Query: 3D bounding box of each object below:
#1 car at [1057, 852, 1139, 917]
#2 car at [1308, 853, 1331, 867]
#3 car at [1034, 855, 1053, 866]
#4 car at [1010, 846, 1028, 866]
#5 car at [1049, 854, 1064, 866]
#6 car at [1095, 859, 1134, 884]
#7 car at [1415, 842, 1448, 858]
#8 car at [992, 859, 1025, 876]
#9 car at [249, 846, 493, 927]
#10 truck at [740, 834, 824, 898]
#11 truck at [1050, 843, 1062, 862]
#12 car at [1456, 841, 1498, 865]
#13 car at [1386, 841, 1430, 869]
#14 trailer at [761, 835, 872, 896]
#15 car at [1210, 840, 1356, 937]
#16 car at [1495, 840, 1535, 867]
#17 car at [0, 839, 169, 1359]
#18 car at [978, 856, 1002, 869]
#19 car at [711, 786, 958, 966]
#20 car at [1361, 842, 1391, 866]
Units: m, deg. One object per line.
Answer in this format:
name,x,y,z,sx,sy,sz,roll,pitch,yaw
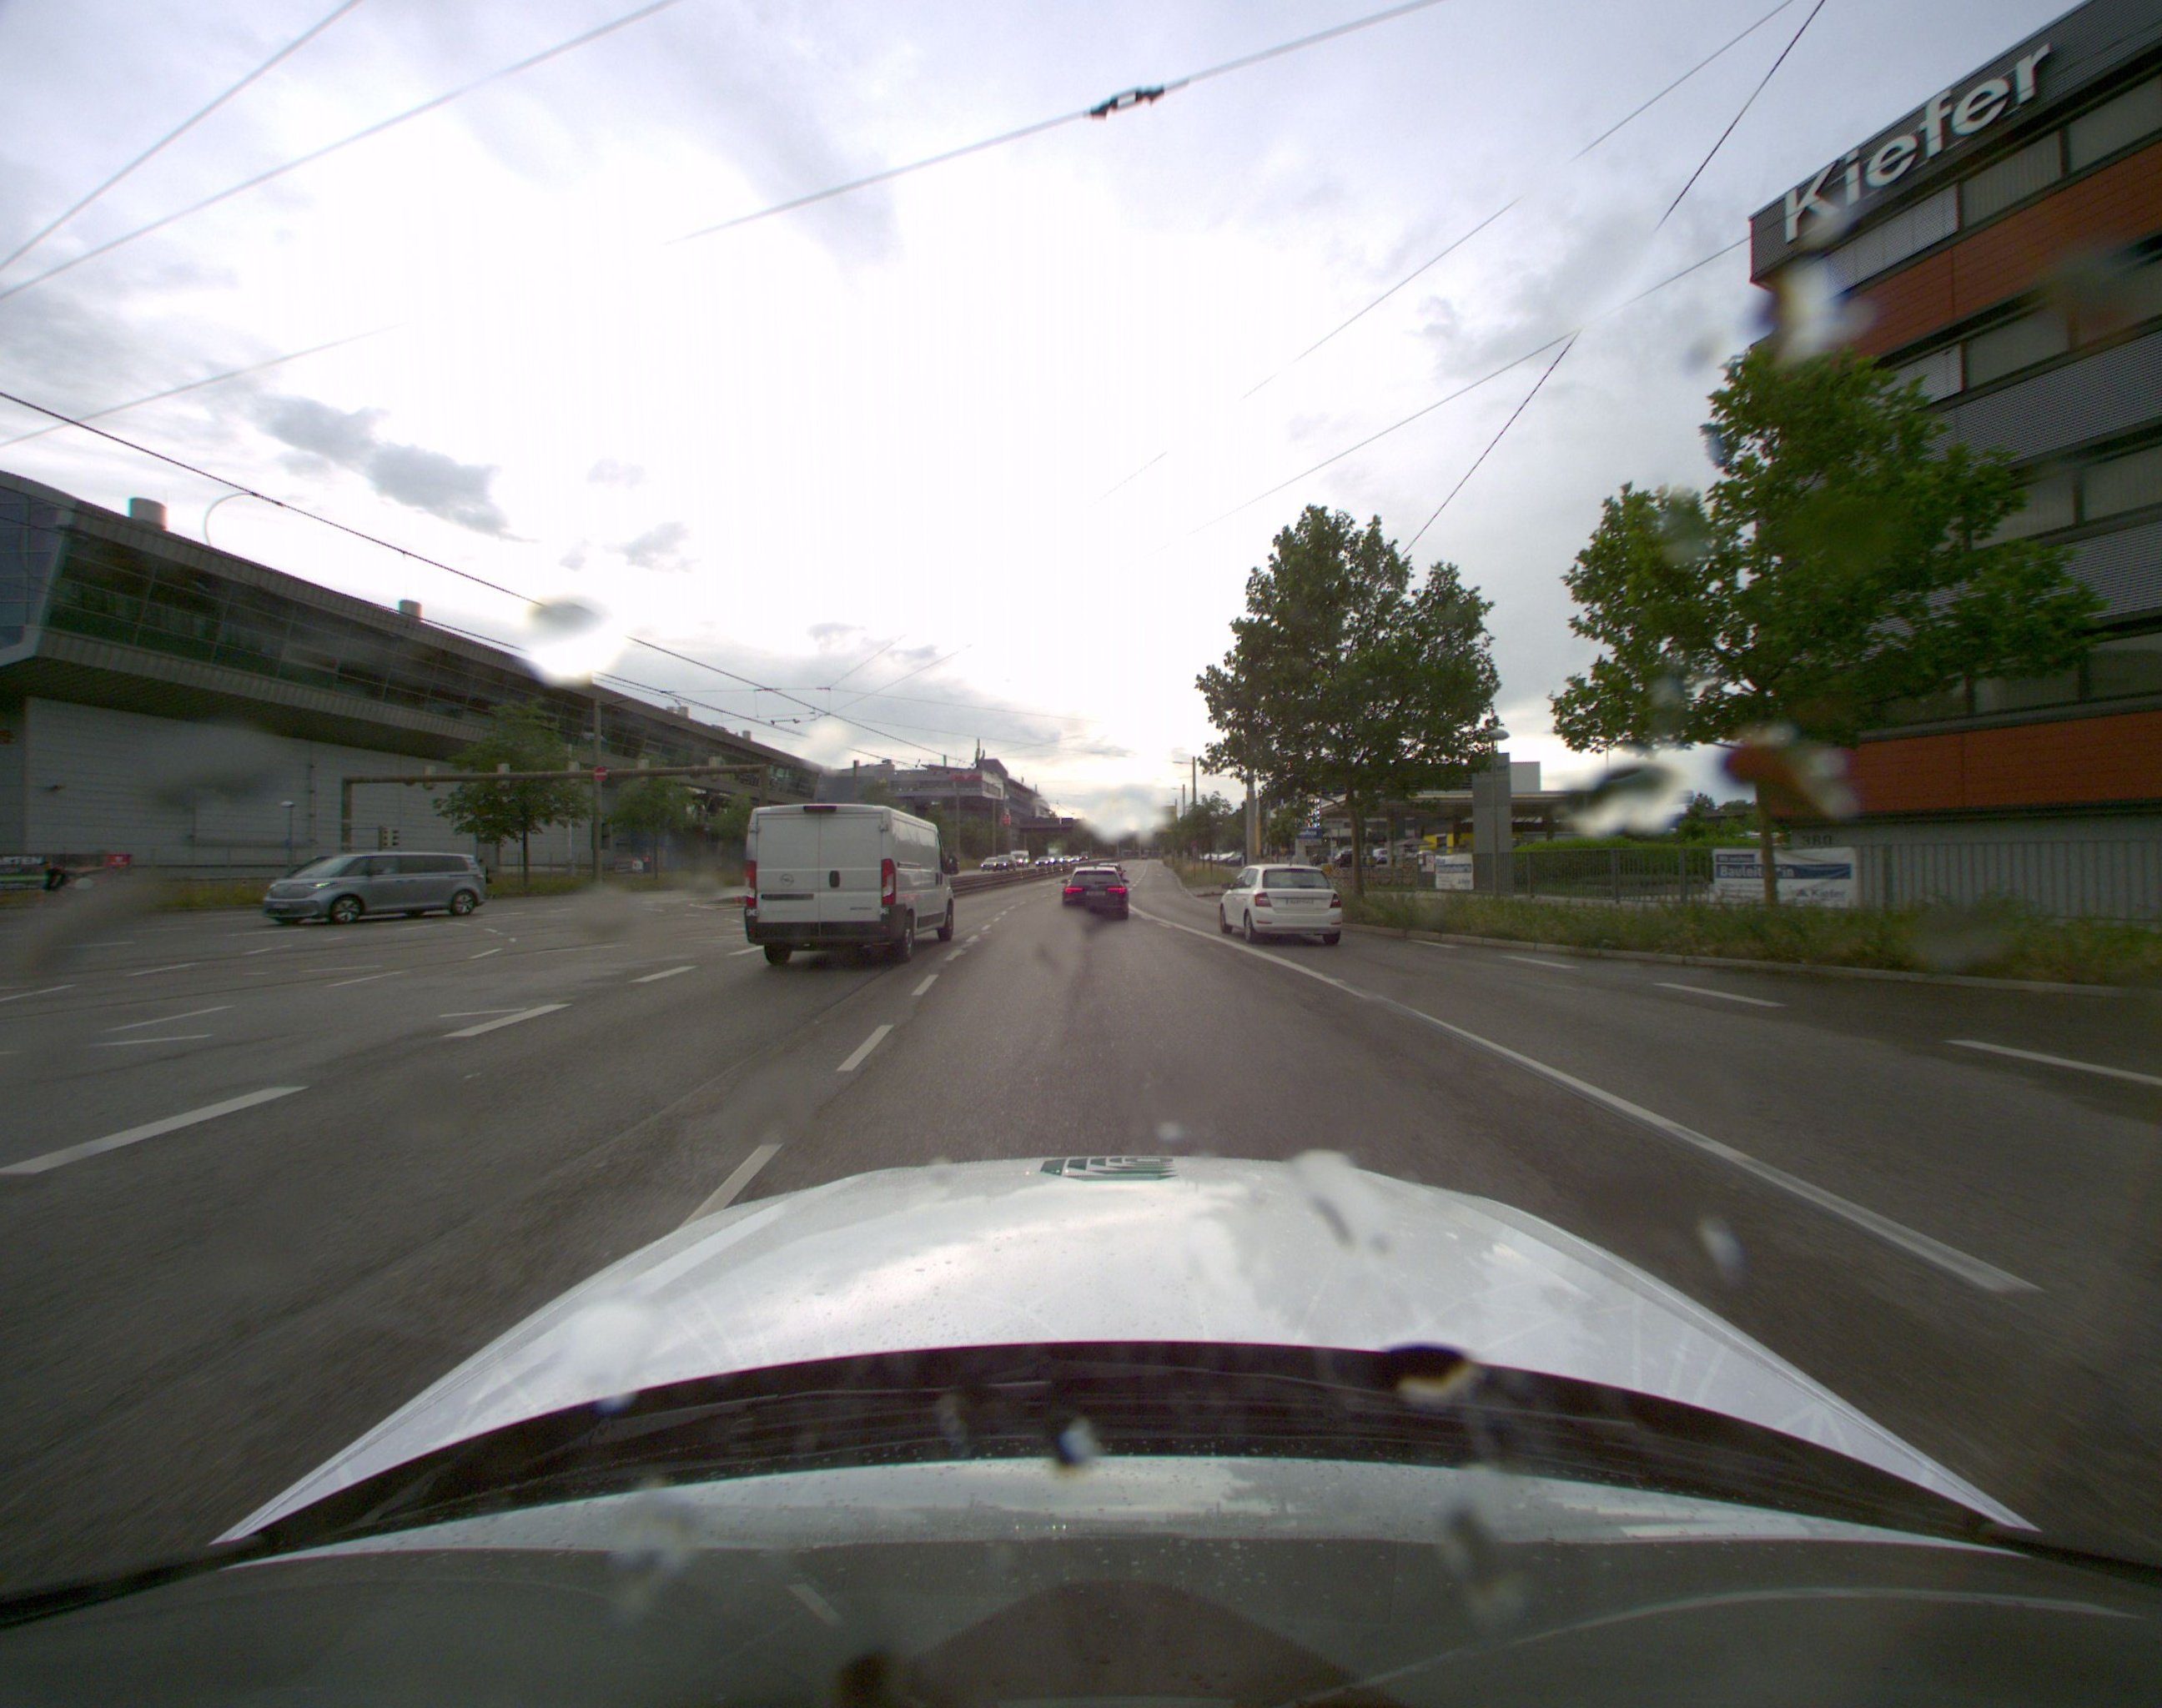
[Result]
car,0.370,0.787,22.904,1.989,1.637,3.995,-1,0,-3
car,27.896,0.716,95.175,1.783,1.591,4.005,-1,0,5
car,-5.311,0.921,117.131,1.790,1.620,4.967,-1,0,9
car,-8.818,0.253,115.515,2.152,2.722,5.065,2,0,-1
car,-4.143,1.062,136.417,2.150,1.886,4.304,2,0,2
car,2.110,1.049,50.181,1.882,1.465,3.920,0,-1,10
car,36.399,-0.384,84.620,1.984,1.596,4.005,-1,0,5
car,-8.103,1.502,91.217,2.142,1.886,4.320,2,0,17
car,-19.548,0.789,22.806,1.981,1.837,4.924,3,2,11
truck,-19.010,0.759,52.168,2.730,3.805,5.423,-2,-1,8
truck,-4.866,-0.243,159.905,2.152,3.645,6.871,2,0,-1
car,34.893,-0.038,71.880,1.863,2.014,3.775,2,0,1
car,25.039,0.082,62.541,1.984,2.032,4.005,-1,-1,4
trailer,-18.272,0.832,57.462,2.709,3.855,11.253,-2,-1,8
car,3.802,0.622,16.037,1.823,1.656,3.998,1,-1,-1
car,33.629,-0.045,63.174,1.667,2.014,3.142,2,0,5
car,-3.972,0.664,0.498,1.688,1.468,4.406,2,0,2
car,-10.946,1.022,98.180,2.149,1.505,4.305,-1,0,3
car,-3.574,0.323,13.032,2.437,2.294,4.903,-1,-1,0
car,25.922,0.020,71.642,1.670,2.014,3.548,2,0,6
